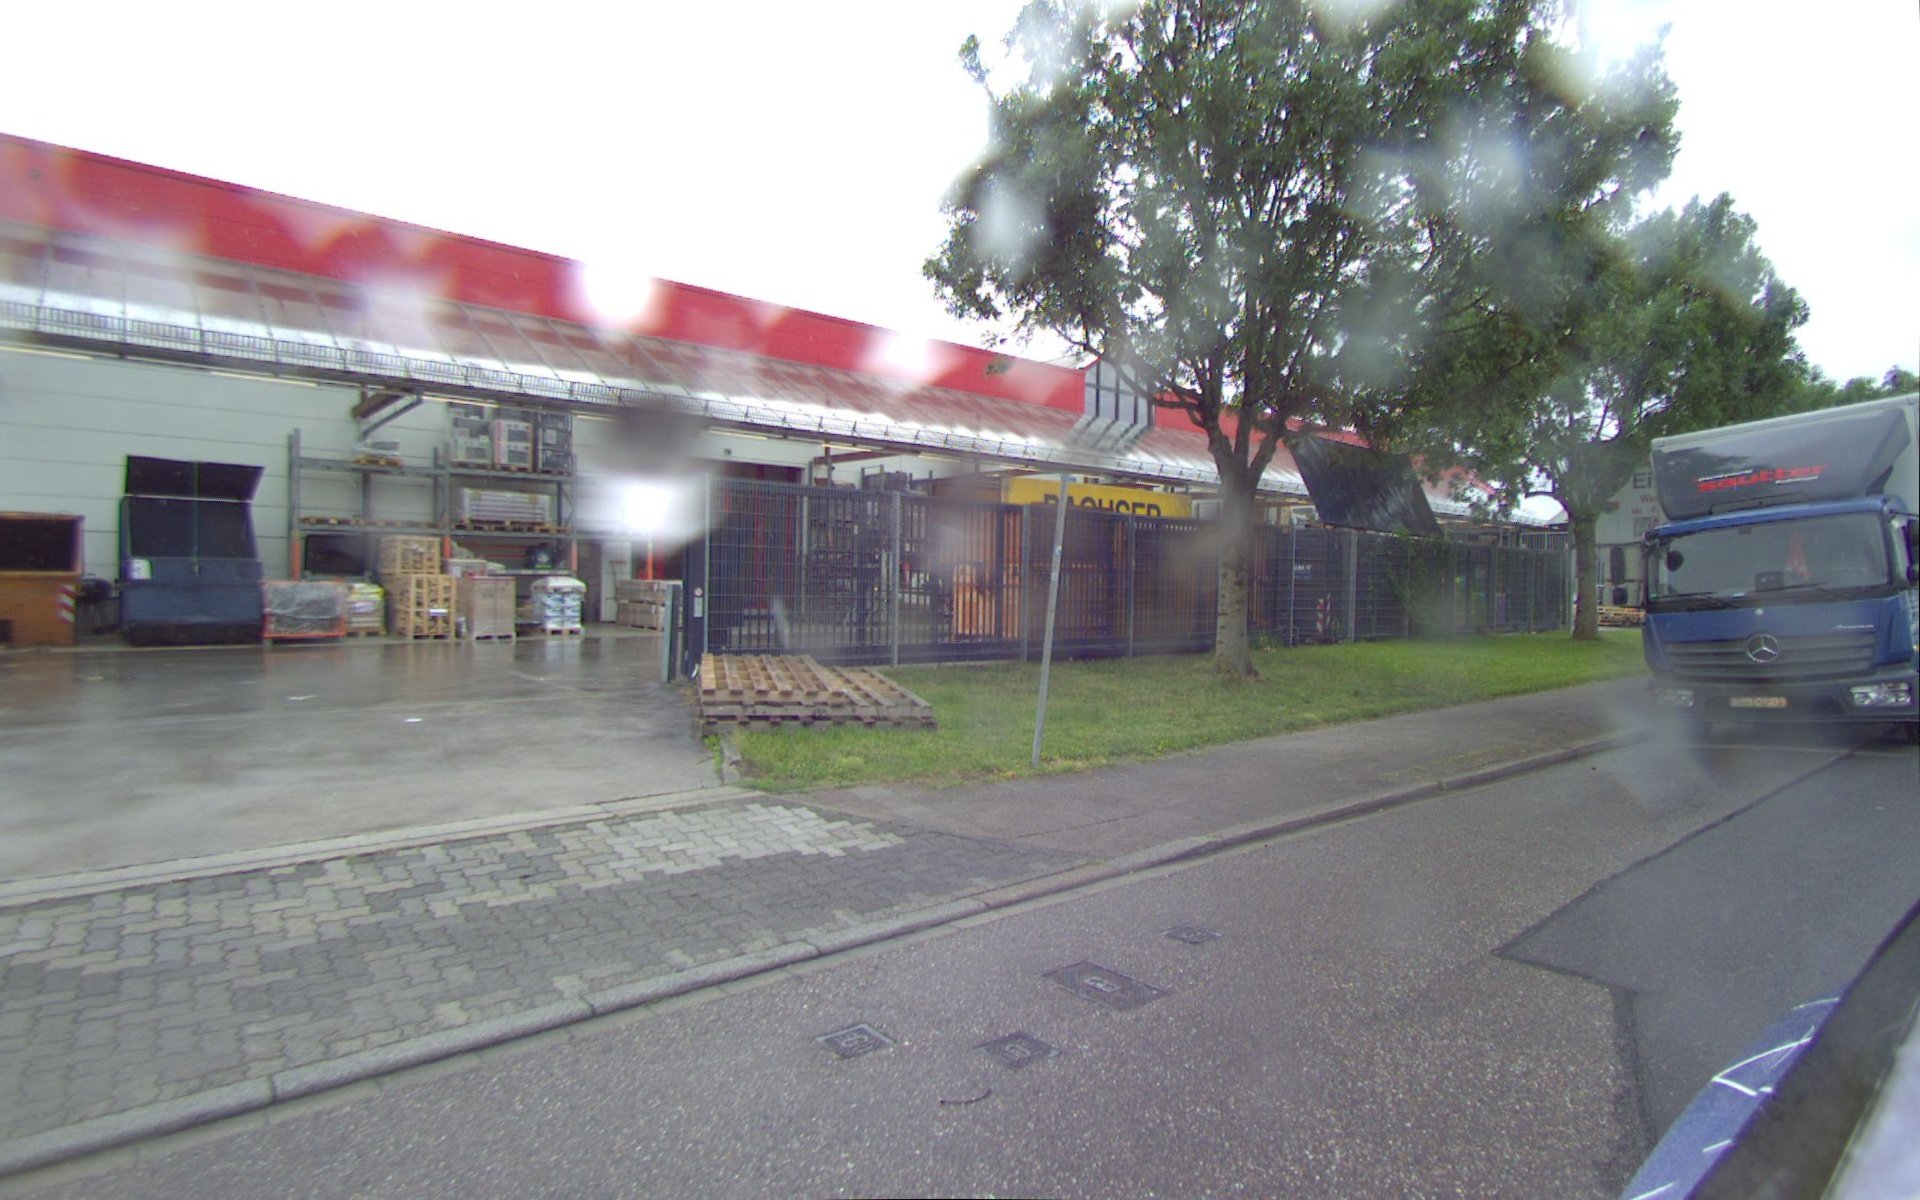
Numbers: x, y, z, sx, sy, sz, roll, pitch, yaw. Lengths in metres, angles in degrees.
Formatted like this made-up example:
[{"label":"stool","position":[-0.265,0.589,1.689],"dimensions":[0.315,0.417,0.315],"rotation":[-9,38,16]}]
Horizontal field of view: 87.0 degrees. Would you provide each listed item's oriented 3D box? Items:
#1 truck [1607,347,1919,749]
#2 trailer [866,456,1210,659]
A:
[{"label":"truck","position":[11.200,-0.477,12.872],"dimensions":[7.867,3.739,2.676],"rotation":[0,-1,-40]},{"label":"trailer","position":[2.286,-1.046,25.587],"dimensions":[9.306,4.295,2.973],"rotation":[-2,2,-40]}]
